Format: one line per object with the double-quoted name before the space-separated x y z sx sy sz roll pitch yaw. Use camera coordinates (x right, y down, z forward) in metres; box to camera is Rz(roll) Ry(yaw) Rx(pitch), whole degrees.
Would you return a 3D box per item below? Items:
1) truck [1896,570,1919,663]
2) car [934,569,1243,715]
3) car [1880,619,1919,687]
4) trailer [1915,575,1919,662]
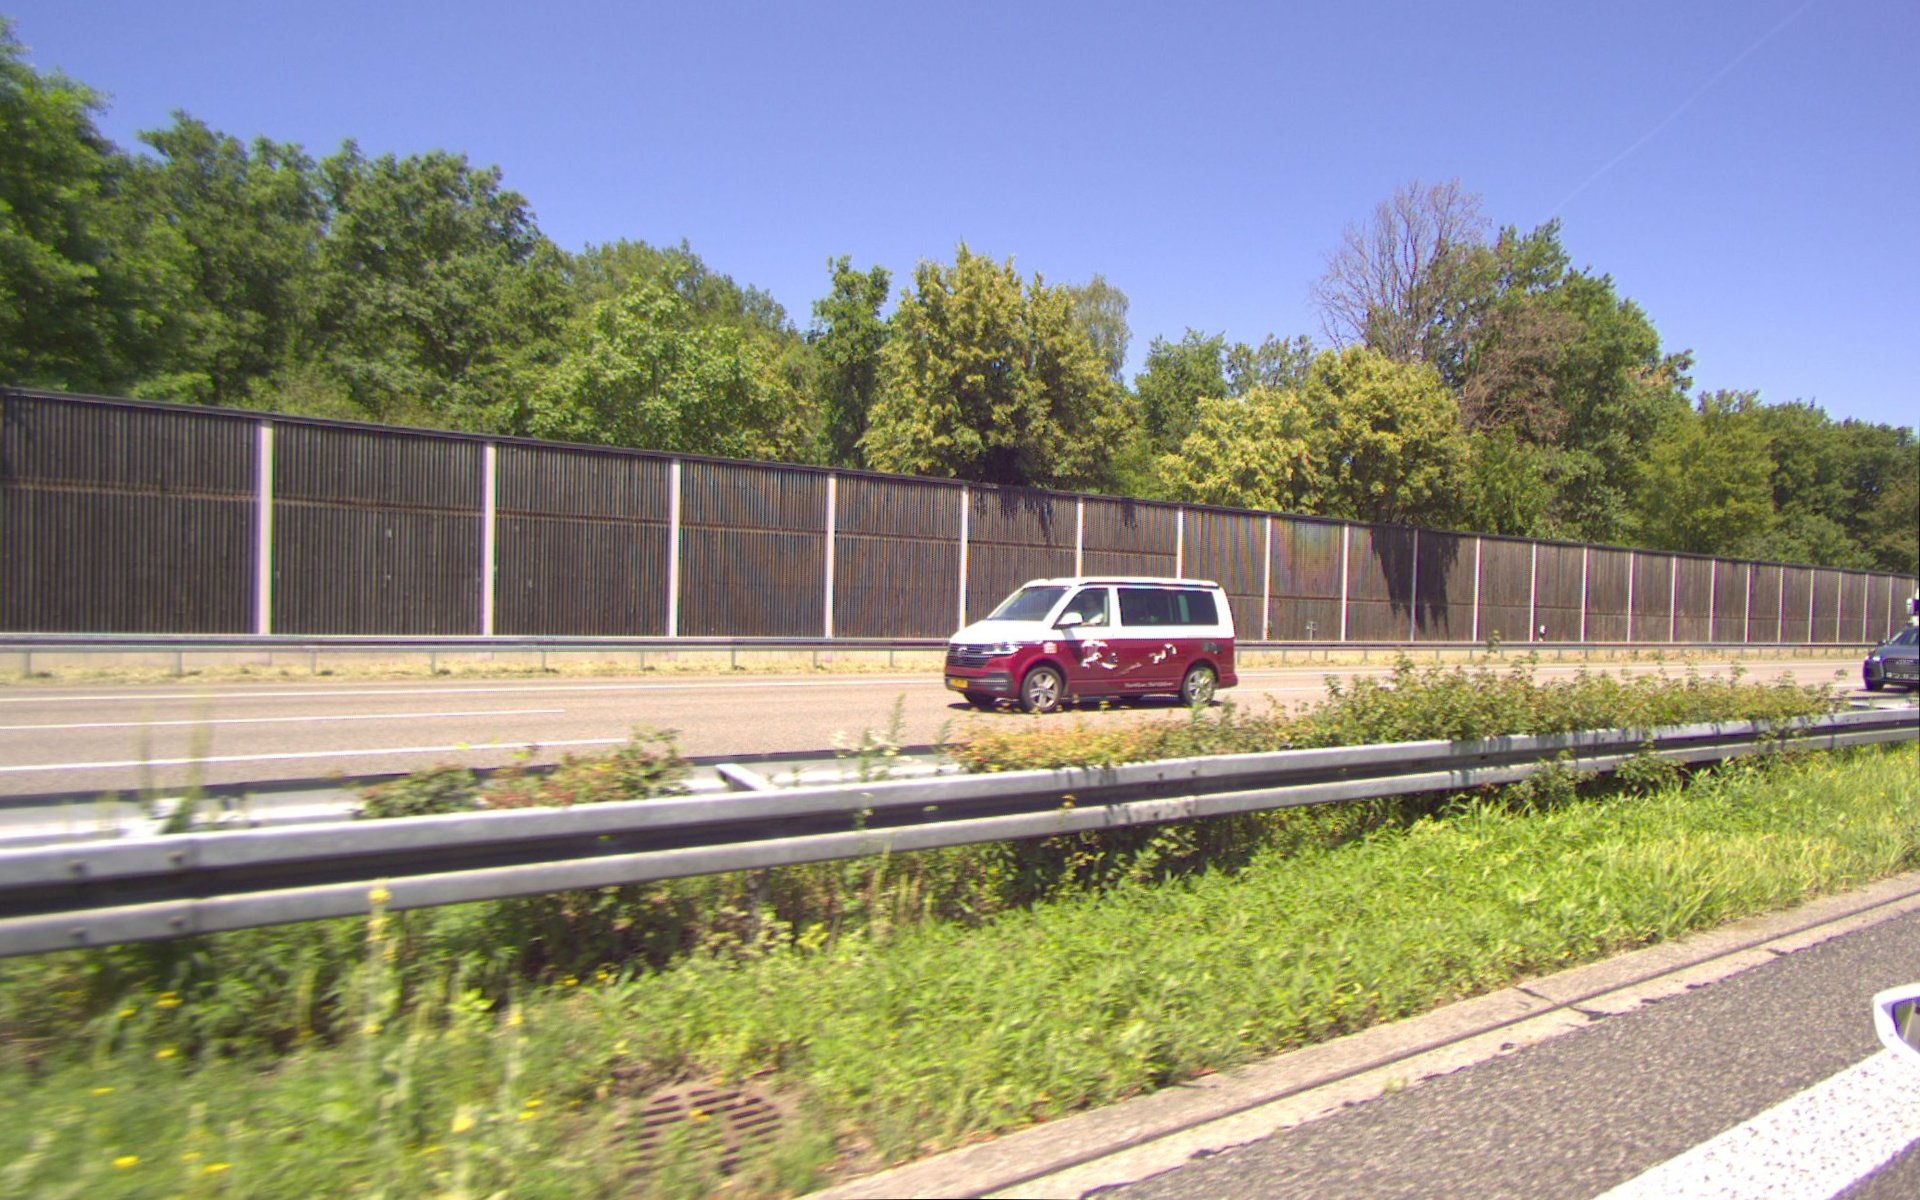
"truck" 46.701 0.856 46.989 5.967 4.248 2.716 2 0 -31
"car" 2.048 0.623 15.624 4.555 1.971 1.917 2 -1 -30
"car" 24.099 1.282 24.210 4.312 1.564 1.704 1 -1 -31
"trailer" 52.358 1.090 50.440 14.225 4.129 2.740 2 0 -31
